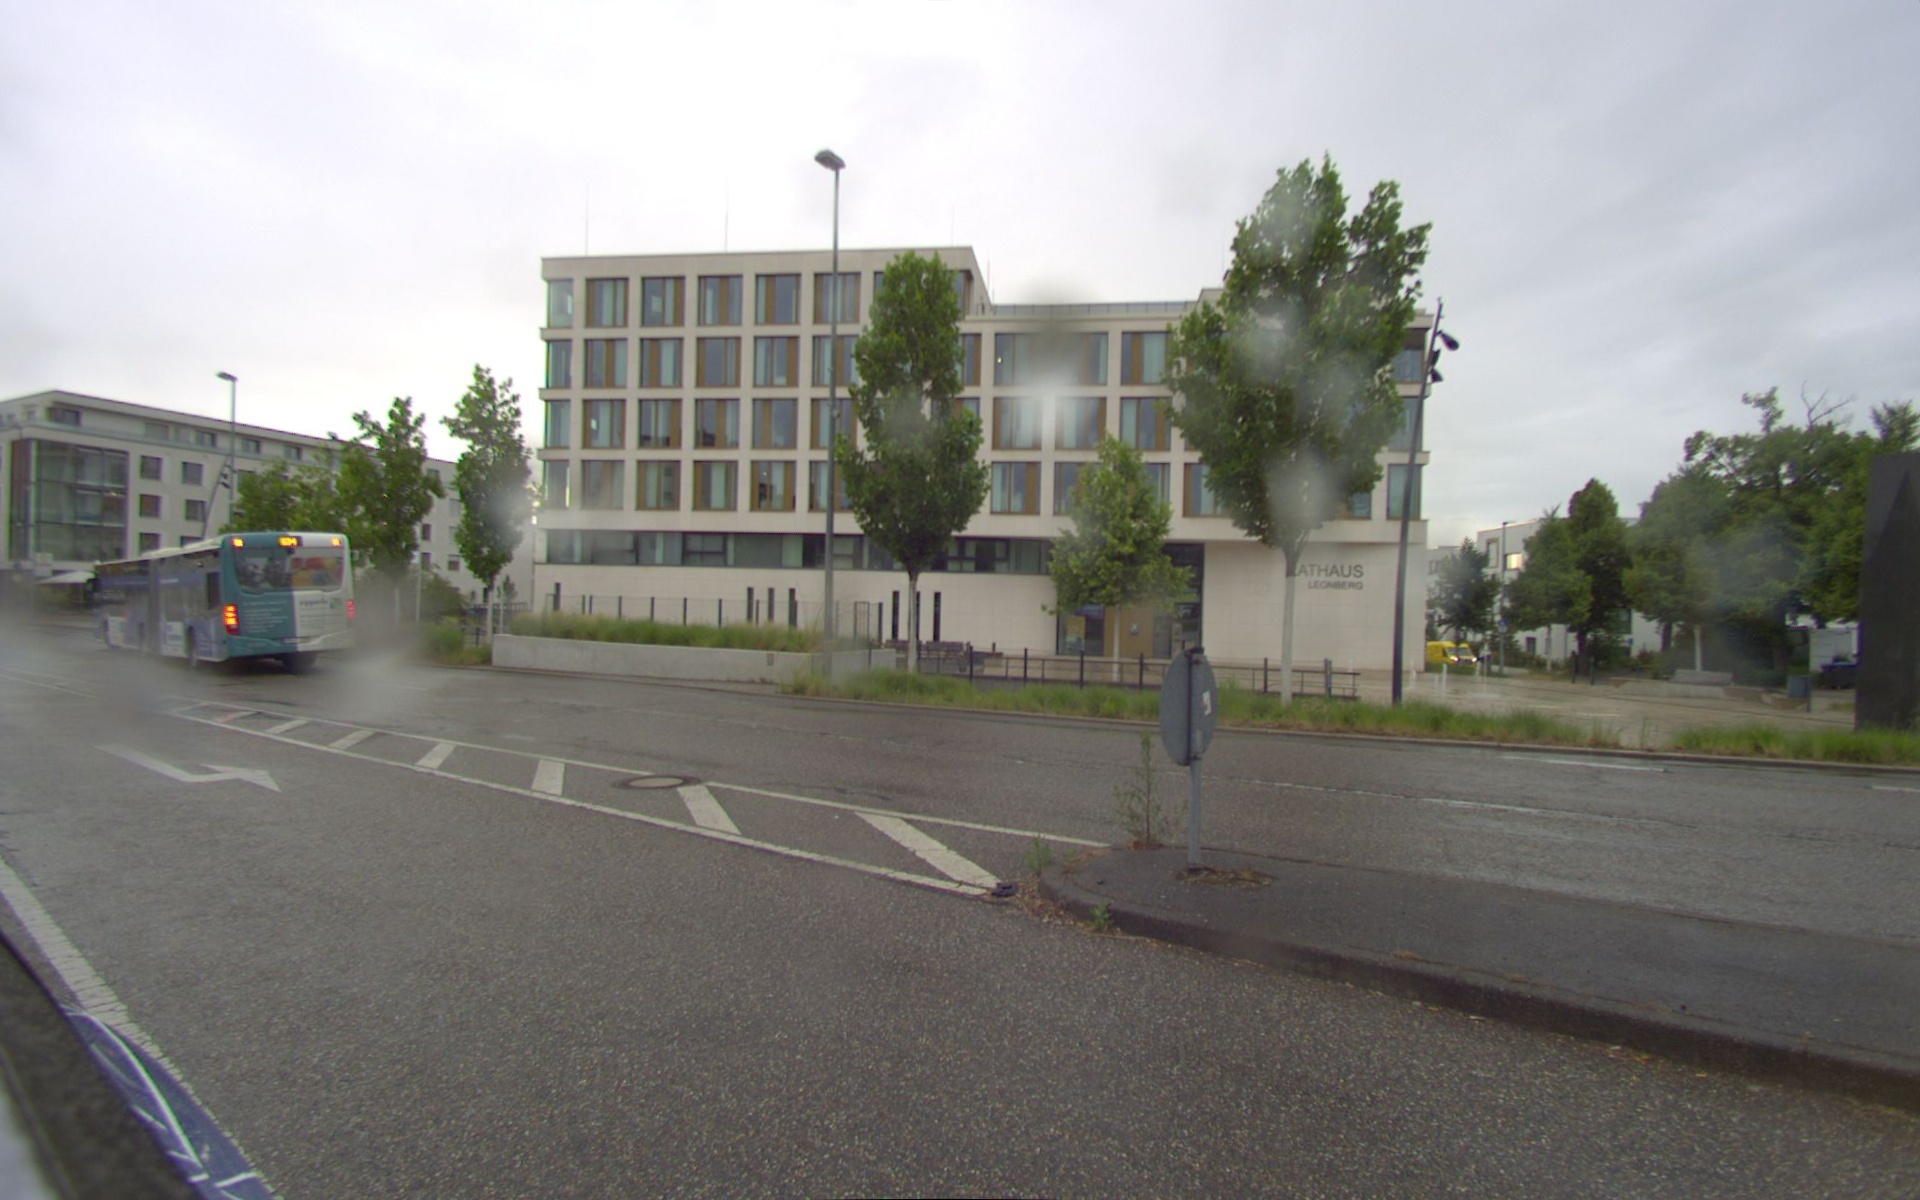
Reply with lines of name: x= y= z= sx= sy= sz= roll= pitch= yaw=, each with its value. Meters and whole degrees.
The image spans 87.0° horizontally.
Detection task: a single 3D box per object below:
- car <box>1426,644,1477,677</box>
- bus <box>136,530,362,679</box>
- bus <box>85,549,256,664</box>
car: x=38.181 y=4.726 z=78.781 sx=1.978 sy=2.428 sz=5.897 roll=1 pitch=-3 yaw=10
bus: x=-18.190 y=0.167 z=25.538 sx=9.368 sy=3.138 sz=2.746 roll=-1 pitch=-2 yaw=43
bus: x=-24.899 y=0.246 z=31.690 sx=8.883 sy=3.138 sz=2.761 roll=-1 pitch=-2 yaw=43
